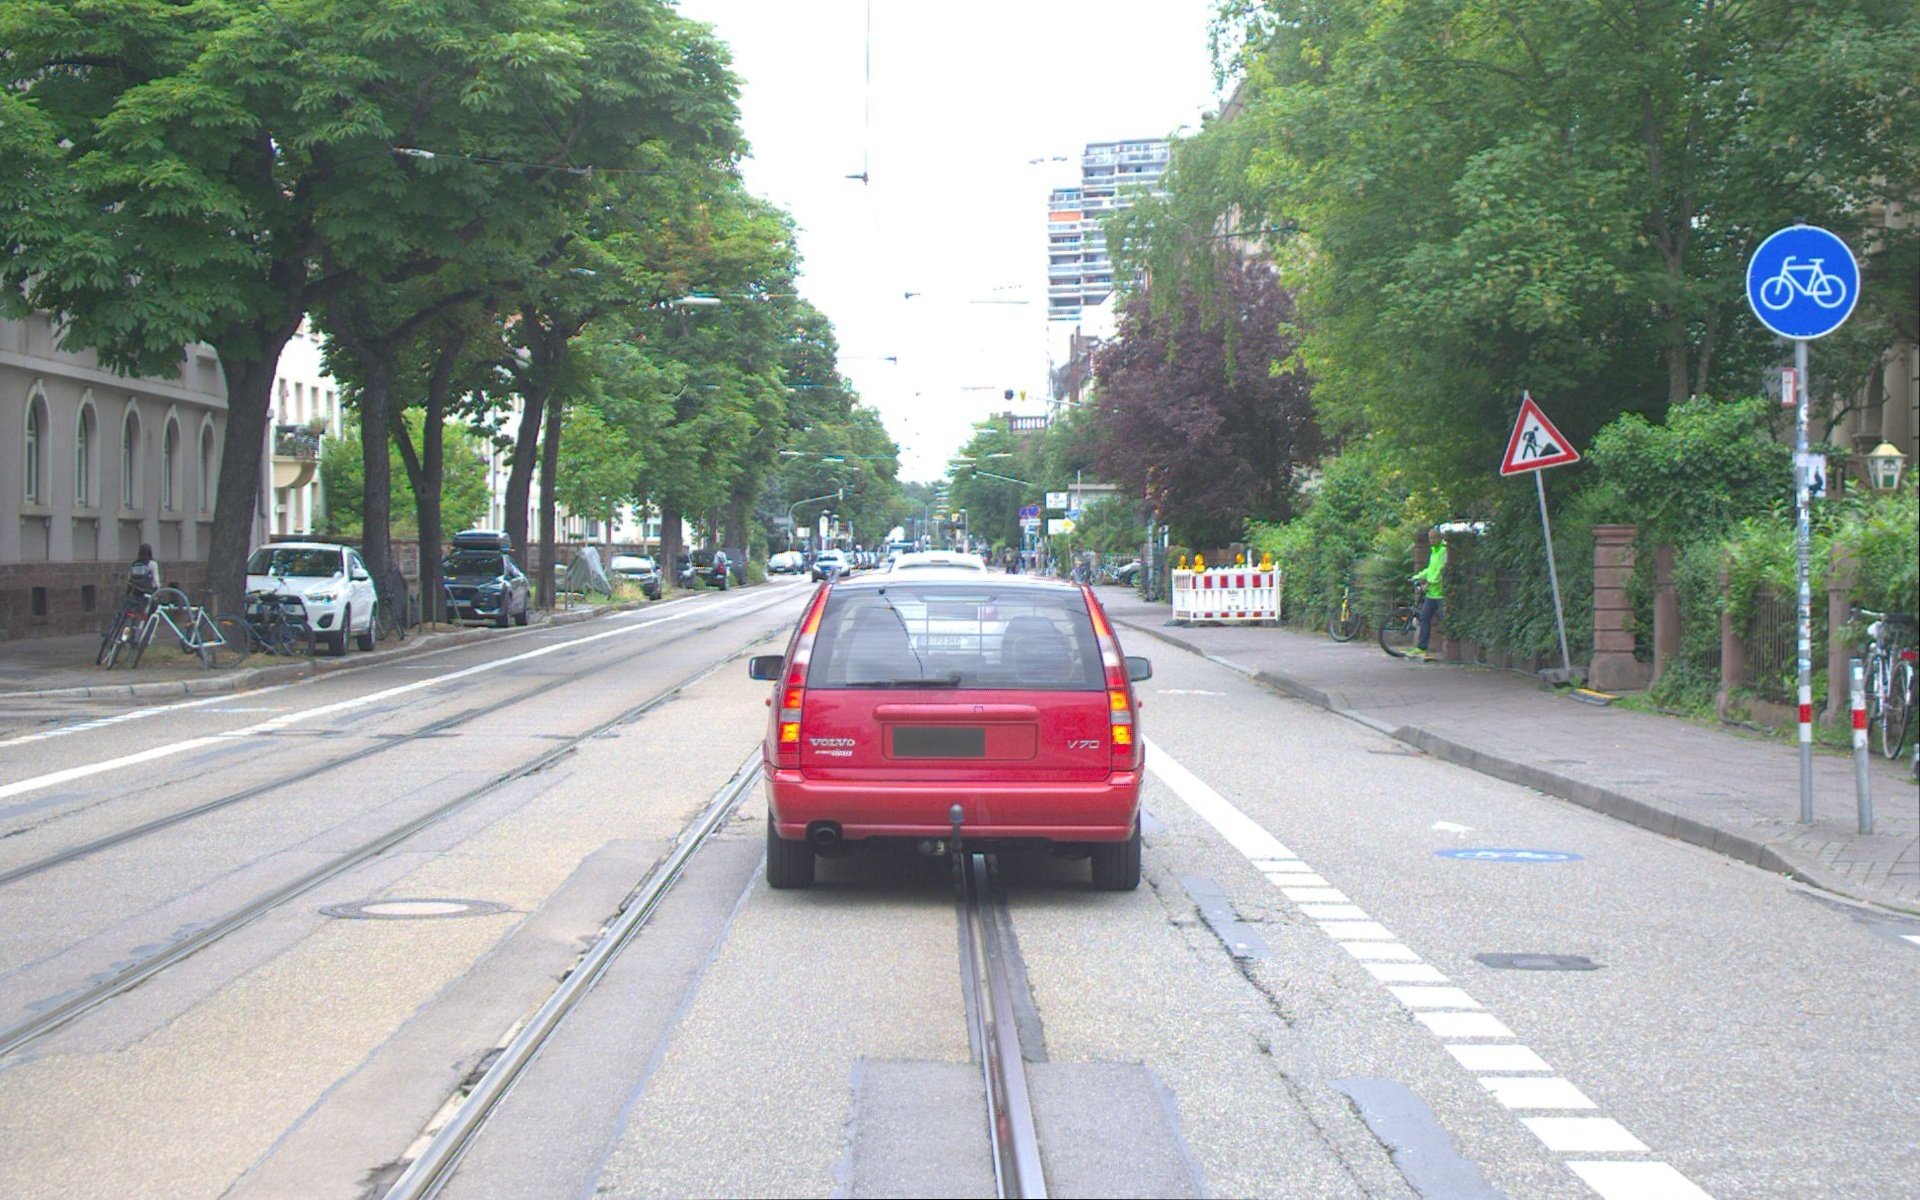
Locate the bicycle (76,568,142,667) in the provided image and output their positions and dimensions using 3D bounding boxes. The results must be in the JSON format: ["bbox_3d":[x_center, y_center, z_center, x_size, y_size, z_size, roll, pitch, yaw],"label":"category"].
[{"bbox_3d":[-10.413,0.200,42.021,0.674,1.132,1.937,0,2,-17],"label":"bicycle"}]

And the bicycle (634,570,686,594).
[{"bbox_3d":[-10.640,-0.631,121.949,1.749,0.841,0.684,1,1,1],"label":"bicycle"}]

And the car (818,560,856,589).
[{"bbox_3d":[-5.785,-1.213,162.338,1.755,1.375,4.027,0,1,-1],"label":"car"}]

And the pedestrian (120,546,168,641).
[{"bbox_3d":[-12.554,-0.104,52.886,0.564,1.462,0.723,0,1,0],"label":"pedestrian"}]

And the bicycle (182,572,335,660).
[{"bbox_3d":[-9.540,0.214,46.791,1.922,1.117,0.624,2,1,-1],"label":"bicycle"}]

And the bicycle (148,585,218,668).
[{"bbox_3d":[-9.355,0.311,41.418,0.483,0.955,1.398,0,1,2],"label":"bicycle"}]

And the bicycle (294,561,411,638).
[{"bbox_3d":[-9.932,-0.016,56.205,1.744,1.188,0.652,2,1,14],"label":"bicycle"}]

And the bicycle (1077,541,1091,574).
[{"bbox_3d":[5.319,-1.816,147.498,0.551,1.395,1.734,0,1,0],"label":"bicycle"}]

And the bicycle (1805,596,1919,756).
[{"bbox_3d":[6.261,0.504,23.882,0.301,1.038,1.848,0,1,-1],"label":"bicycle"}]

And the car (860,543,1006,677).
[{"bbox_3d":[-0.304,0.097,43.867,1.719,1.619,3.941,1,1,1],"label":"car"}]

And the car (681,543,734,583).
[{"bbox_3d":[-10.016,-1.473,136.731,1.851,1.558,3.943,1,1,0],"label":"car"}]

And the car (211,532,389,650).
[{"bbox_3d":[-9.690,-0.159,50.771,1.897,1.650,4.226,1,1,-2],"label":"car"}]

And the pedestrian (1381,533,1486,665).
[{"bbox_3d":[6.270,-0.021,45.586,1.228,1.727,1.018,0,1,-1],"label":"pedestrian"}]

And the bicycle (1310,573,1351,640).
[{"bbox_3d":[5.893,0.092,54.777,0.479,1.041,1.531,0,1,0],"label":"bicycle"}]

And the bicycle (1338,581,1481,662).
[{"bbox_3d":[6.042,0.282,46.251,1.841,1.072,0.606,0,1,-1],"label":"bicycle"}]

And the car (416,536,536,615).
[{"bbox_3d":[-9.766,-0.513,69.631,1.777,1.505,4.238,1,1,0],"label":"car"}]

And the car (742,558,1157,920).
[{"bbox_3d":[-0.062,0.554,16.142,1.689,1.436,3.743,1,1,-1],"label":"car"}]

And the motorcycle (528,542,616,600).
[{"bbox_3d":[-10.348,-0.786,91.702,2.269,1.506,0.925,1,-1,35],"label":"motorcycle"}]
